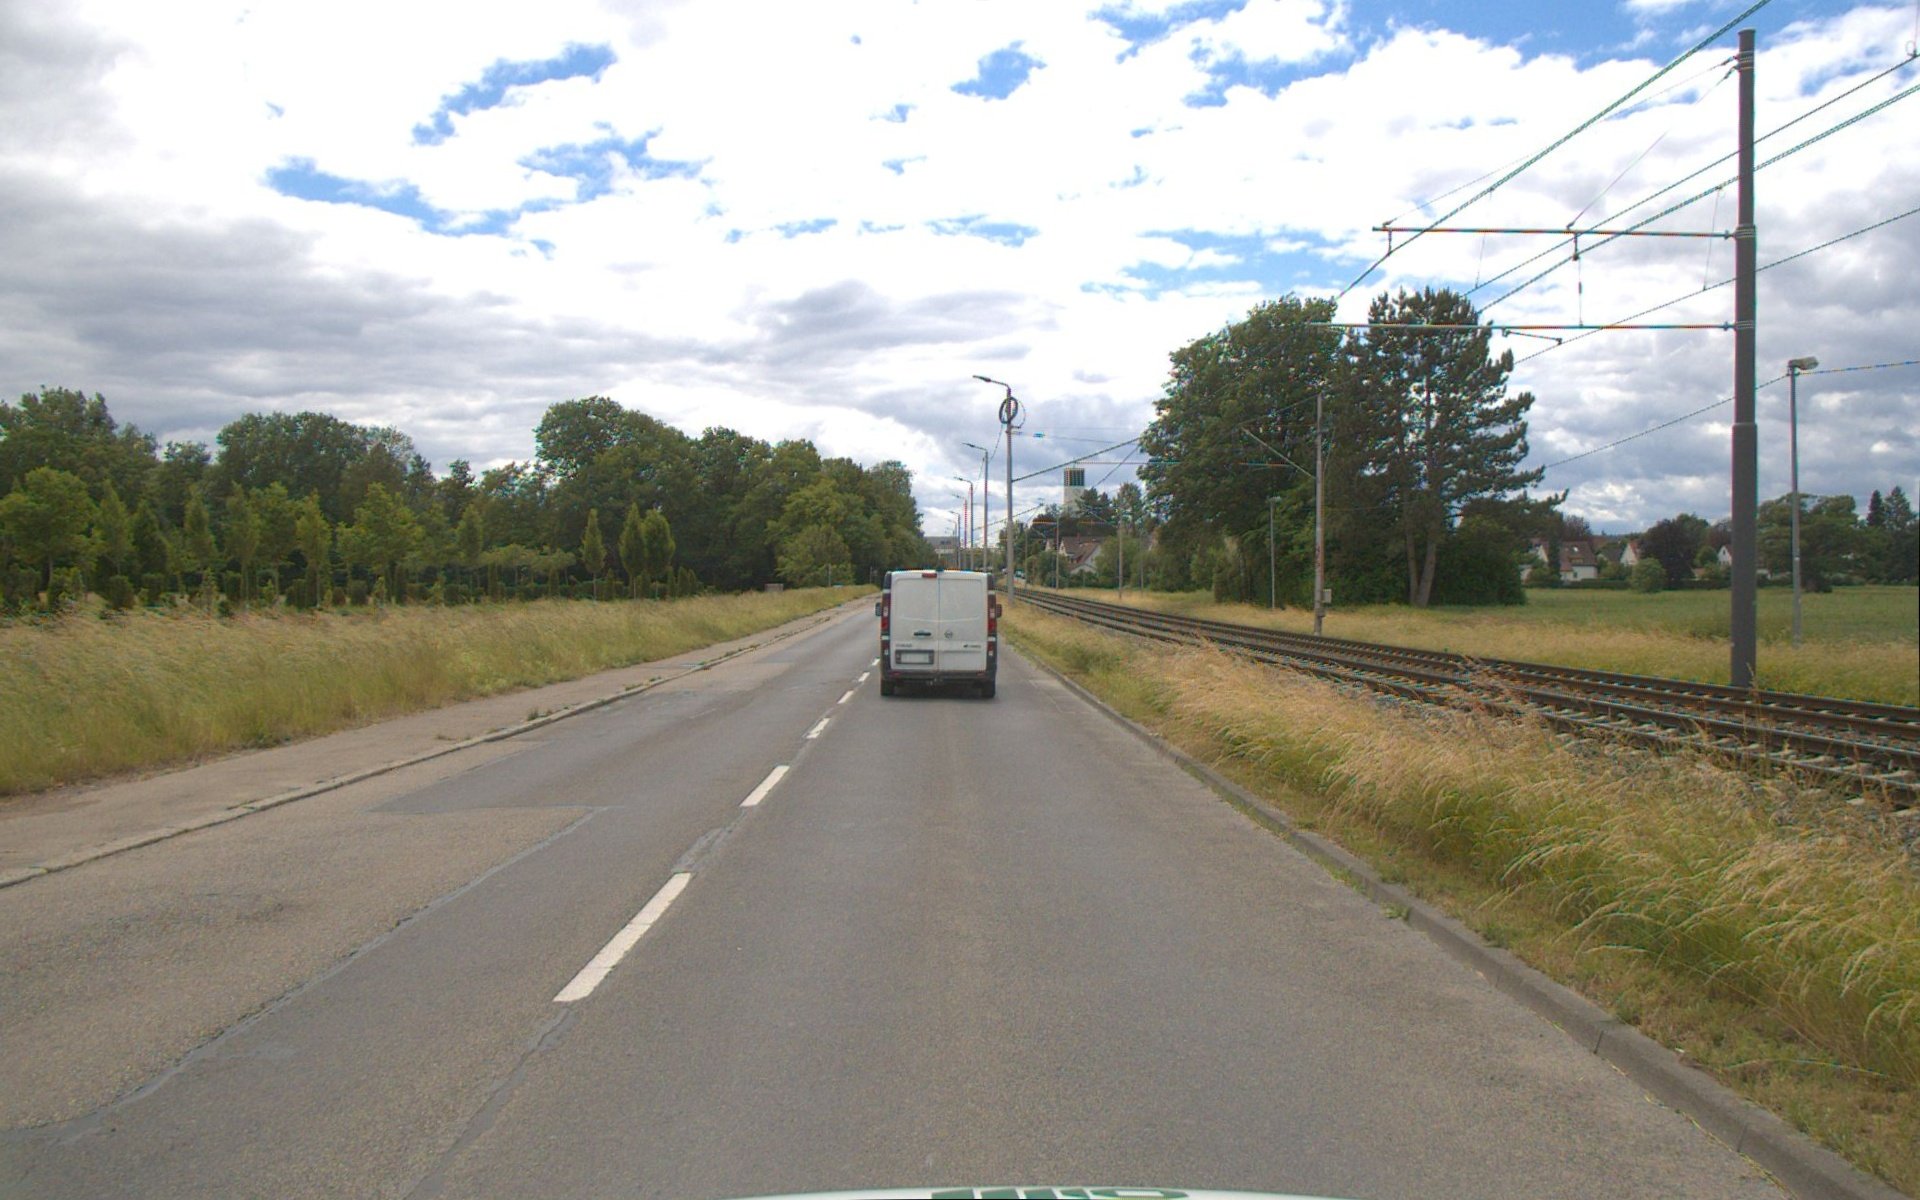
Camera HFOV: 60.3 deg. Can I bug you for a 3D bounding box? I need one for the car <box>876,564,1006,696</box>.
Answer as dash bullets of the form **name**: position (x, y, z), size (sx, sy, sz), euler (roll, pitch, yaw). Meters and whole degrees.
- **car**: position (-0.345, 0.453, 27.007), size (1.953, 1.991, 3.998), euler (1, 0, -2)
